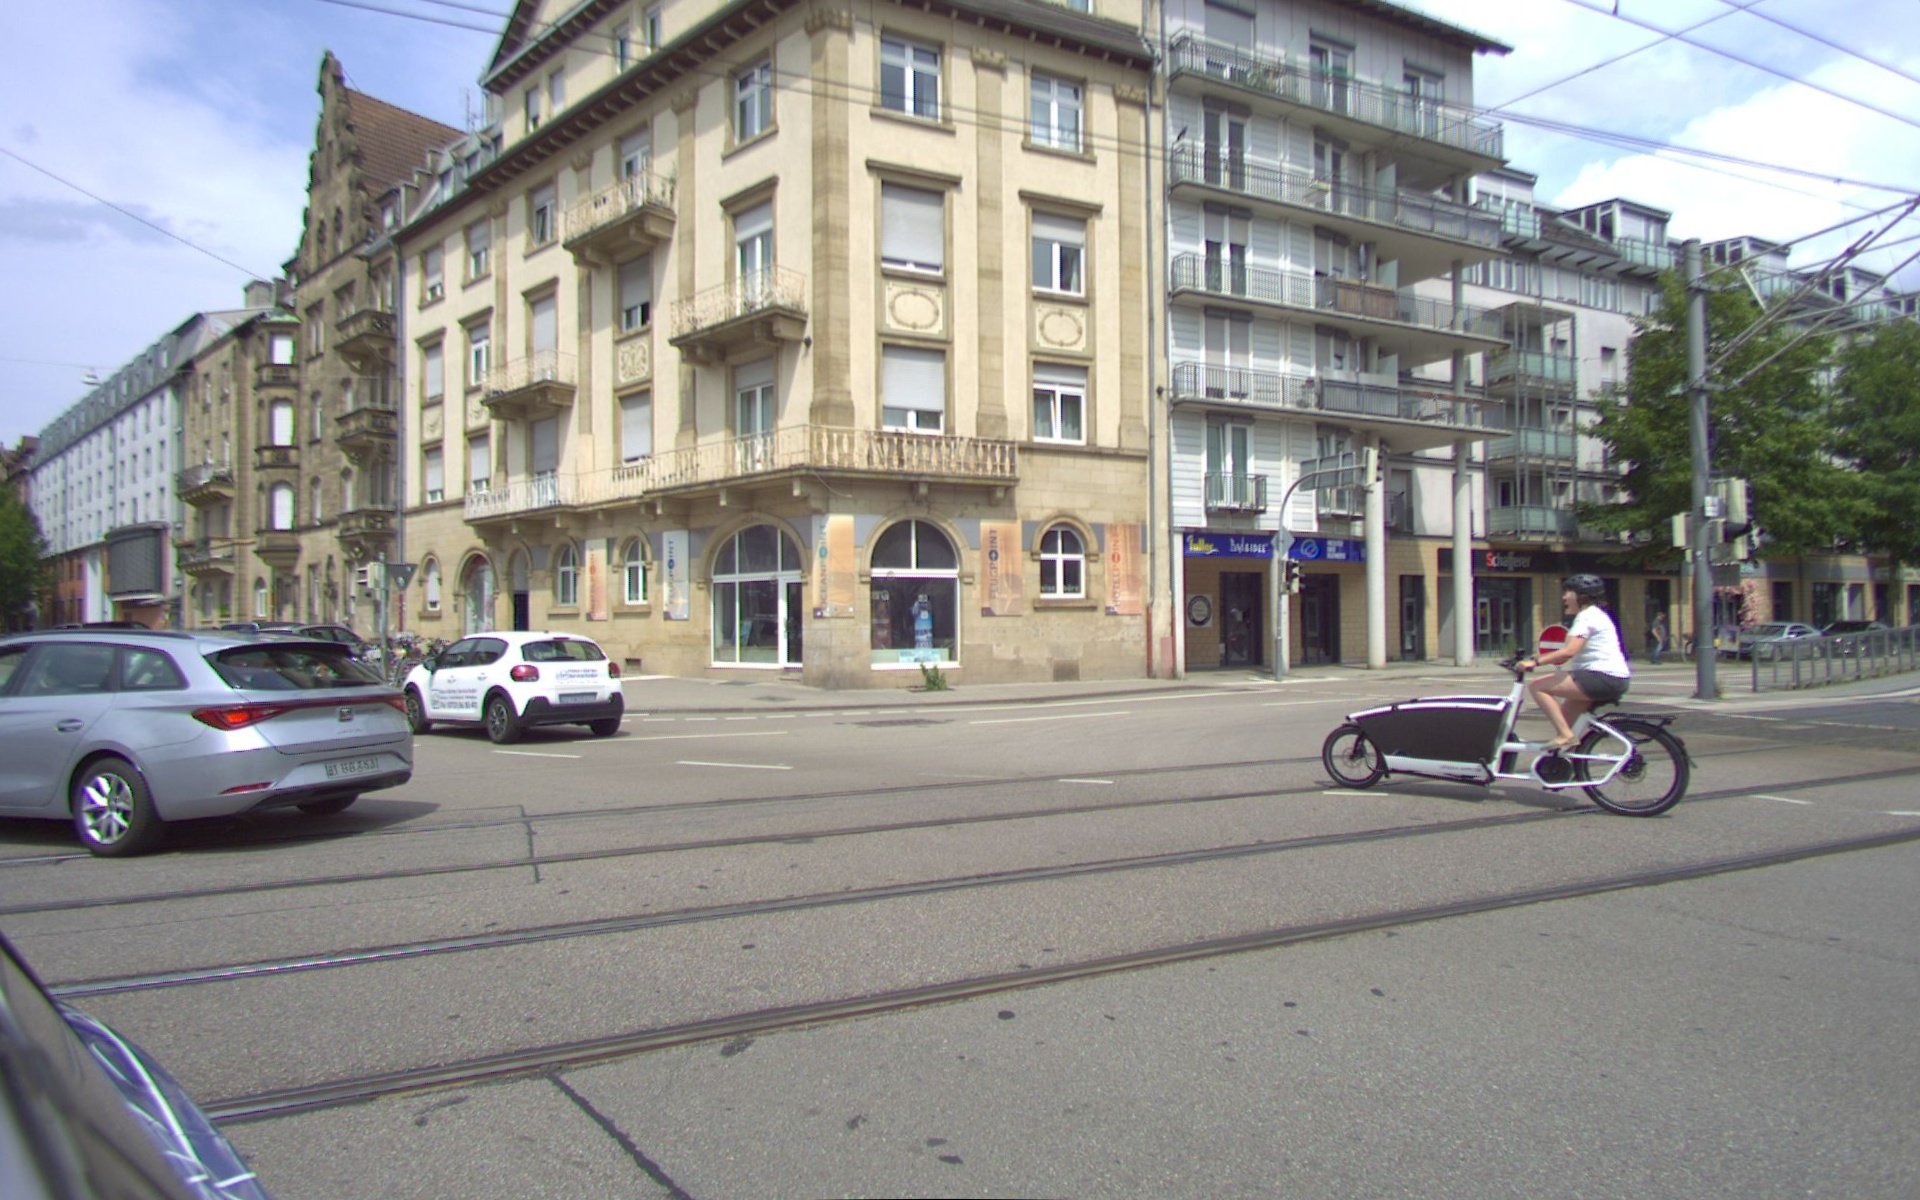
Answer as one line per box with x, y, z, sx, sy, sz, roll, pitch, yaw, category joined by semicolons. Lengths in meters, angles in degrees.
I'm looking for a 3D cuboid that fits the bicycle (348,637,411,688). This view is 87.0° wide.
-14.881;1.578;25.962;0.397;1.201;1.329;-2;0;37;bicycle

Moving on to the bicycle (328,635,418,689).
-14.015;1.466;24.208;1.844;1.201;0.457;-1;-1;-30;bicycle

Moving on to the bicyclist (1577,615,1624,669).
17.840;1.159;28.197;0.983;1.455;0.643;0;-2;-25;bicyclist

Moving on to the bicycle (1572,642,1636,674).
18.001;1.611;28.268;1.760;0.822;0.654;0;-2;-25;bicycle

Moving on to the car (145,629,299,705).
-16.274;1.410;22.254;3.996;1.535;1.745;-1;-3;39;car

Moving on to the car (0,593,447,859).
-6.369;0.776;7.428;4.806;1.535;1.759;-1;-1;17;car

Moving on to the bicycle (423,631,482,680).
-13.447;1.460;26.860;0.396;1.201;1.330;-2;1;34;bicycle

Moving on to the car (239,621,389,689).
-18.974;1.564;29.947;1.735;1.601;4.035;-4;1;1;car

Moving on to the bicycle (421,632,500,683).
-13.010;1.477;26.390;0.397;1.201;1.808;-3;0;39;bicycle

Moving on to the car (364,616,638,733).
-6.655;0.991;14.506;4.232;1.442;1.719;-2;-2;36;car

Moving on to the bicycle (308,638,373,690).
-15.821;1.616;25.861;0.396;1.201;1.331;-2;1;33;bicycle

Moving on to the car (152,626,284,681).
-26.024;1.838;35.671;1.735;1.547;3.827;-4;1;1;car

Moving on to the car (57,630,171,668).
-37.710;2.162;45.219;1.737;1.547;3.821;-1;-1;5;car

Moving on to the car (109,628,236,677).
-30.909;2.020;39.852;1.737;1.547;3.822;-4;1;5;car

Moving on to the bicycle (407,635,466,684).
-14.005;1.584;27.091;0.396;1.201;1.330;-2;1;34;bicycle

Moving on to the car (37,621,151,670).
-40.023;2.055;46.902;1.737;1.907;3.822;-4;1;5;car

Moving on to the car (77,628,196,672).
-35.493;2.113;43.737;1.737;1.547;3.822;-4;1;5;car

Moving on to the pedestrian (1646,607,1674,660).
22.878;1.091;33.072;0.557;1.735;0.519;-1;-2;18;pedestrian

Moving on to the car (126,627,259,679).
-28.289;1.928;37.440;1.737;1.547;3.822;-4;1;5;car

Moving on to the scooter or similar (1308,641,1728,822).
4.121;0.898;7.699;2.686;1.147;0.731;-2;-2;41;scooter or similar

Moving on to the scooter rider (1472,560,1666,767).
4.455;0.441;7.419;1.086;1.387;0.731;-2;-2;40;scooter rider

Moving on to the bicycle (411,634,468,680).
-14.196;1.547;27.631;0.397;1.201;1.328;-2;-2;38;bicycle

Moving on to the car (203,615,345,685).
-21.534;1.520;31.948;1.735;1.832;3.827;-4;1;1;car

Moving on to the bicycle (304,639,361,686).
-17.031;1.676;27.492;0.395;1.201;1.335;-1;-1;23;bicycle

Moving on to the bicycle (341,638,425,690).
-14.446;1.580;25.384;0.397;1.201;1.800;-2;-1;37;bicycle

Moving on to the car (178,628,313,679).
-23.585;1.717;33.567;1.735;1.547;3.826;-1;-1;1;car

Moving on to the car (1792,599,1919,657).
33.020;1.004;37.329;3.930;2.029;2.006;0;-2;-25;car

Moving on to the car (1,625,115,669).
-42.708;2.191;48.037;1.737;1.698;3.822;-4;1;5;car

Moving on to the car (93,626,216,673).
-32.996;1.988;41.582;1.737;1.547;3.822;-4;1;5;car

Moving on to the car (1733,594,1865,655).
29.375;0.840;35.440;3.930;2.029;2.006;0;-2;-25;car

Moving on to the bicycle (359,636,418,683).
-15.563;1.613;27.589;0.396;1.201;1.330;-2;0;35;bicycle

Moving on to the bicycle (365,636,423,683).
-15.215;1.596;27.214;0.397;1.201;1.328;-2;-2;38;bicycle
